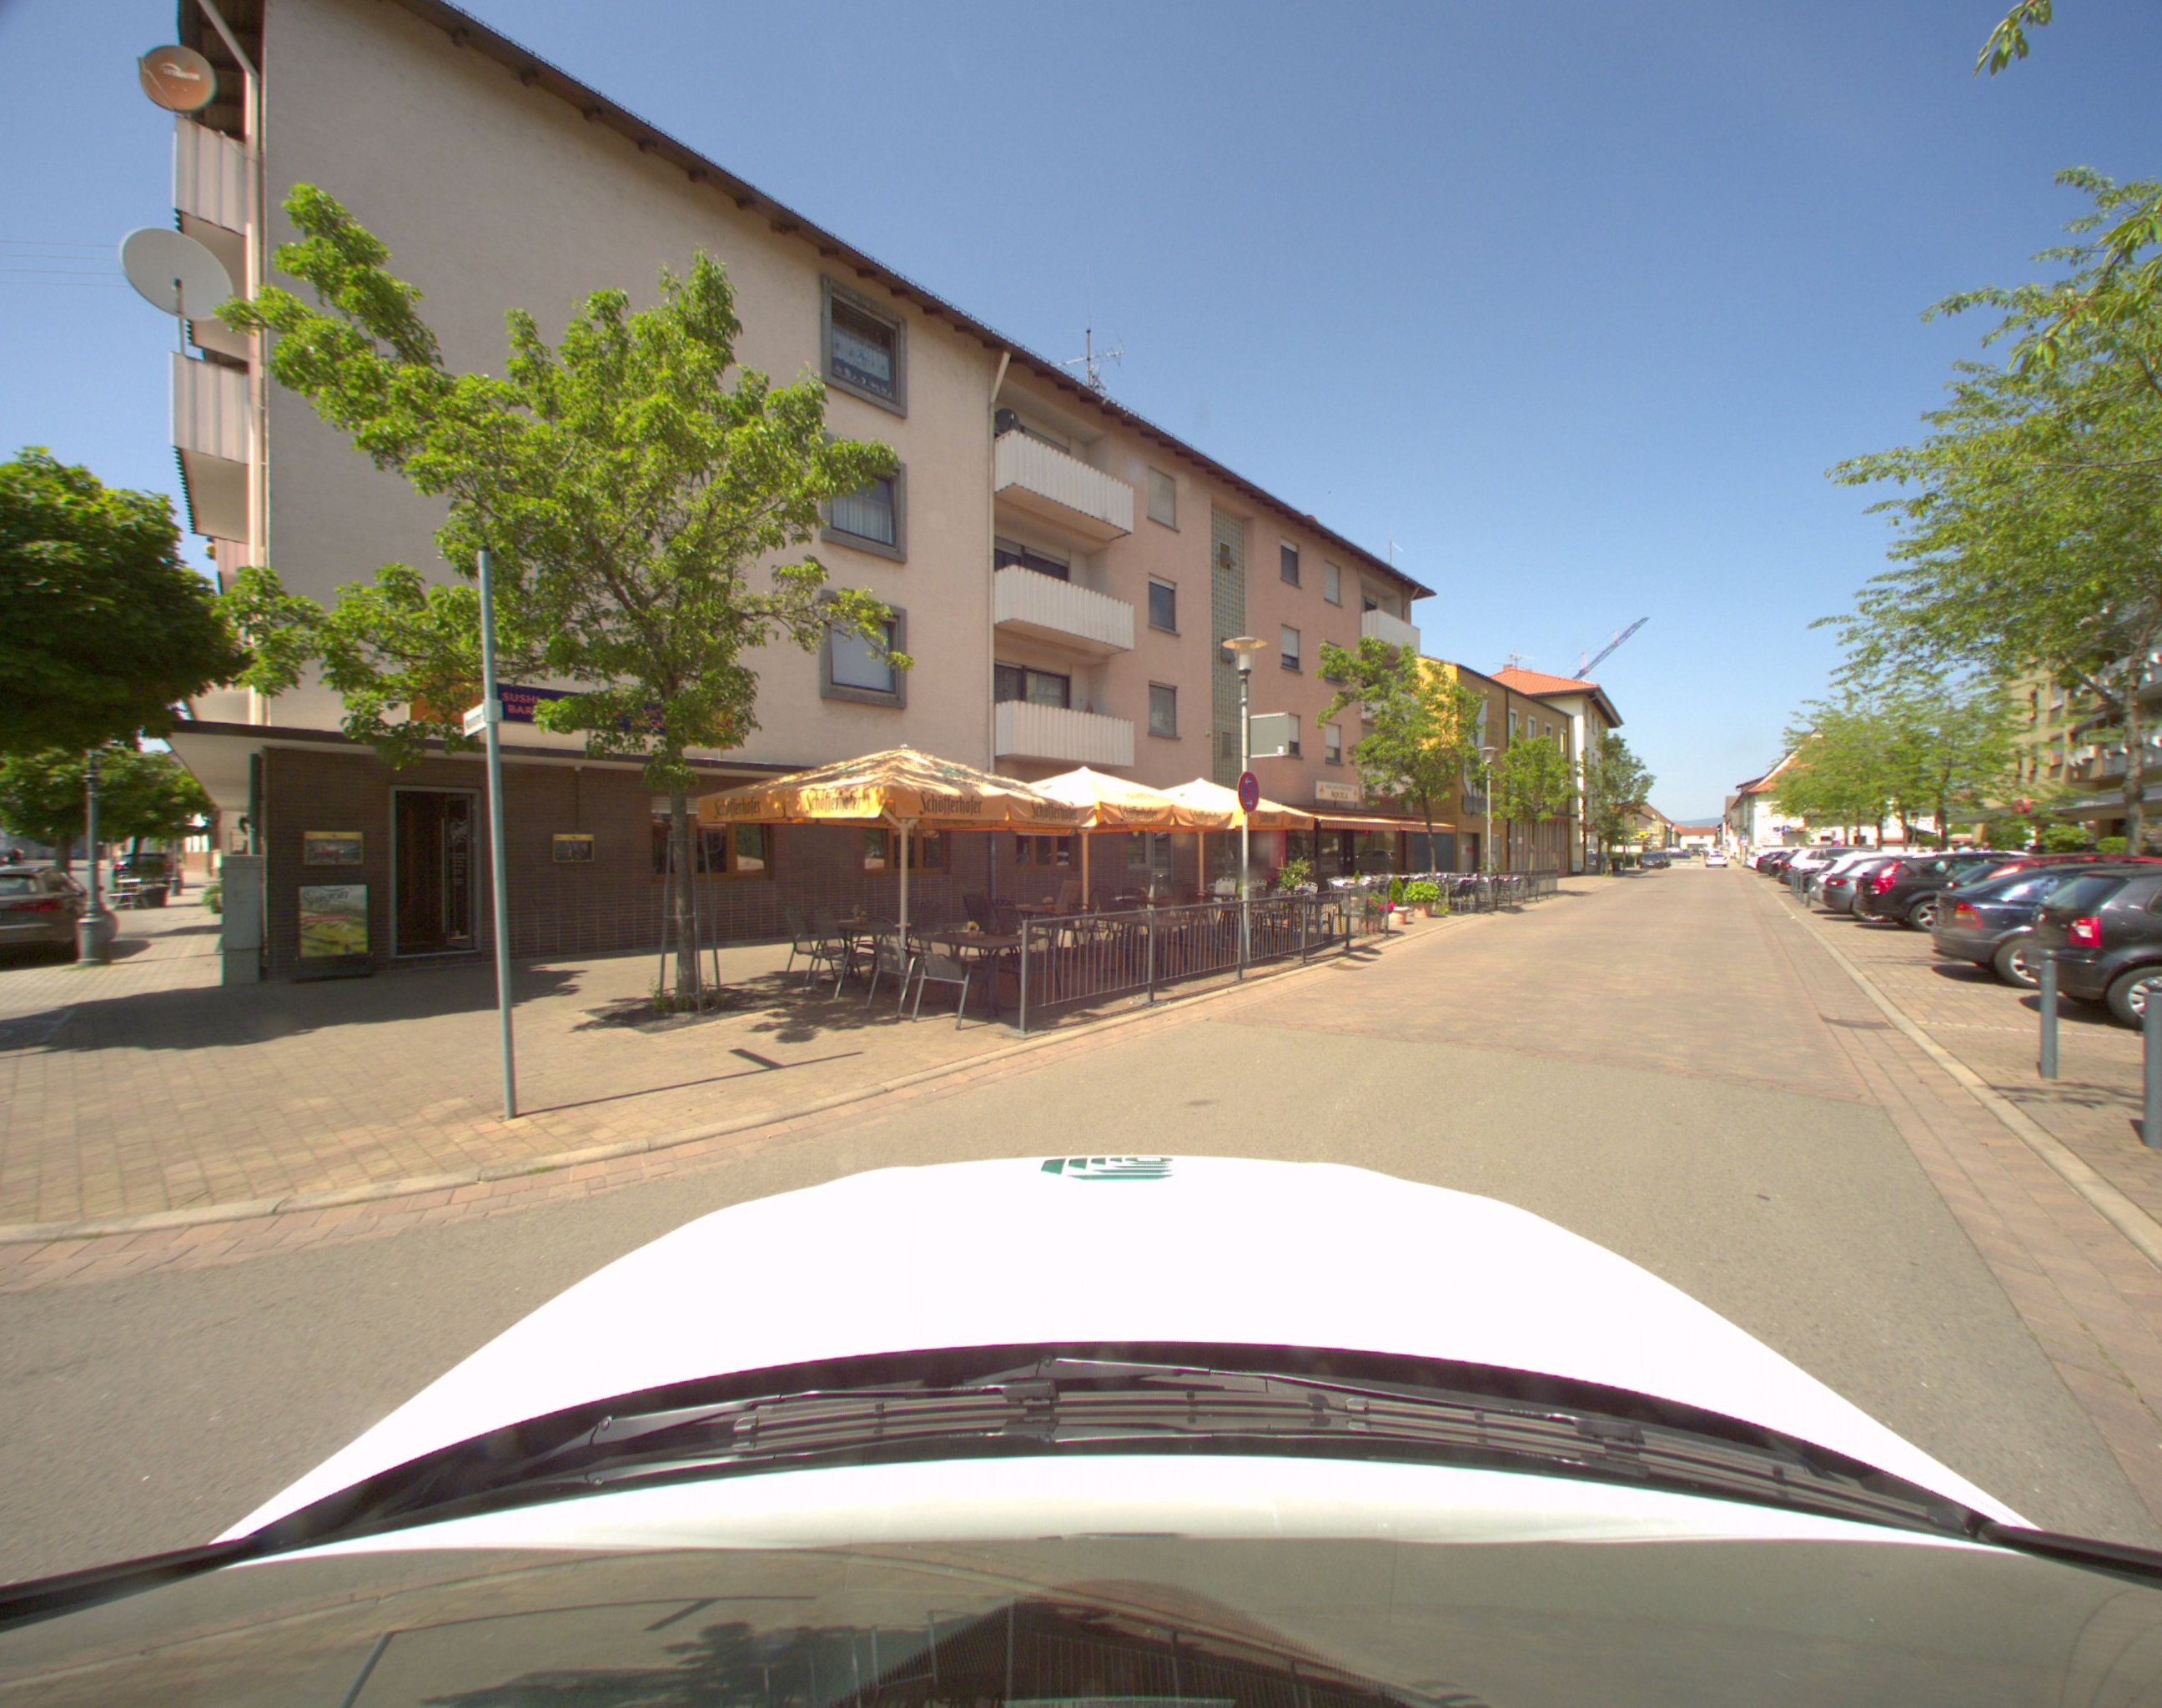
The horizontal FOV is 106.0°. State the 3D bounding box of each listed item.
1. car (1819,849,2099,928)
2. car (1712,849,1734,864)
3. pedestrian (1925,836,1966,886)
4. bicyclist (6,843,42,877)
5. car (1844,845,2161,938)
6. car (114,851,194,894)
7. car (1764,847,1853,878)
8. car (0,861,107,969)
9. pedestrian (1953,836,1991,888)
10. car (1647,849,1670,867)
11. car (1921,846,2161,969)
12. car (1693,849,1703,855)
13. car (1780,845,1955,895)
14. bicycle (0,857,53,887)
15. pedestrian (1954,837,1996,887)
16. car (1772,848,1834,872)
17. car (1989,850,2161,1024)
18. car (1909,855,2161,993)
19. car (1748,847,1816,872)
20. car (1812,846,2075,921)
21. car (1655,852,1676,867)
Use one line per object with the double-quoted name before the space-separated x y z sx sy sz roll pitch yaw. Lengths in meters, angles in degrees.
"car" 18.399 0.661 17.346 3.901 1.489 1.726 -1 0 44
"car" 68.553 0.273 86.944 1.814 1.532 3.970 0 1 39
"pedestrian" 31.261 0.249 29.458 0.829 1.787 0.812 -1 1 33
"bicyclist" -52.311 0.309 40.308 1.114 1.637 1.056 0 1 38
"car" 17.381 0.640 15.329 4.141 1.541 1.958 -1 0 35
"car" -40.221 0.761 35.428 4.781 1.688 2.062 0 1 44
"car" 39.859 0.454 44.724 3.488 1.624 1.721 0 0 38
"car" -16.135 0.860 12.225 1.590 1.454 3.443 -2 1 -45
"pedestrian" 30.980 0.270 28.324 0.811 1.787 0.830 -1 1 -39
"car" 53.168 0.338 75.011 1.493 1.500 3.851 0 1 39
"car" 14.203 0.676 11.042 3.687 1.534 1.776 -2 -1 39
"car" 145.344 -0.435 191.782 1.730 1.481 3.652 0 1 39
"car" 27.074 0.513 28.242 4.203 1.615 1.568 0 0 38
"bicycle" -52.525 0.865 40.506 3.875 1.370 1.639 0 1 37
"pedestrian" 32.282 0.277 29.404 0.829 1.787 0.812 -1 1 33
"car" 52.853 0.431 59.704 3.315 1.715 1.479 0 -1 38
"car" 10.998 0.703 7.037 3.920 1.510 1.783 -1 -1 37
"car" 12.443 0.749 9.231 4.057 1.431 1.795 -2 0 38
"car" 49.937 0.408 58.087 3.444 1.700 1.545 -2 -1 34
"car" 20.178 0.636 19.359 4.113 1.574 1.770 0 1 40
"car" 60.627 0.538 84.453 1.493 1.500 3.851 0 1 39
